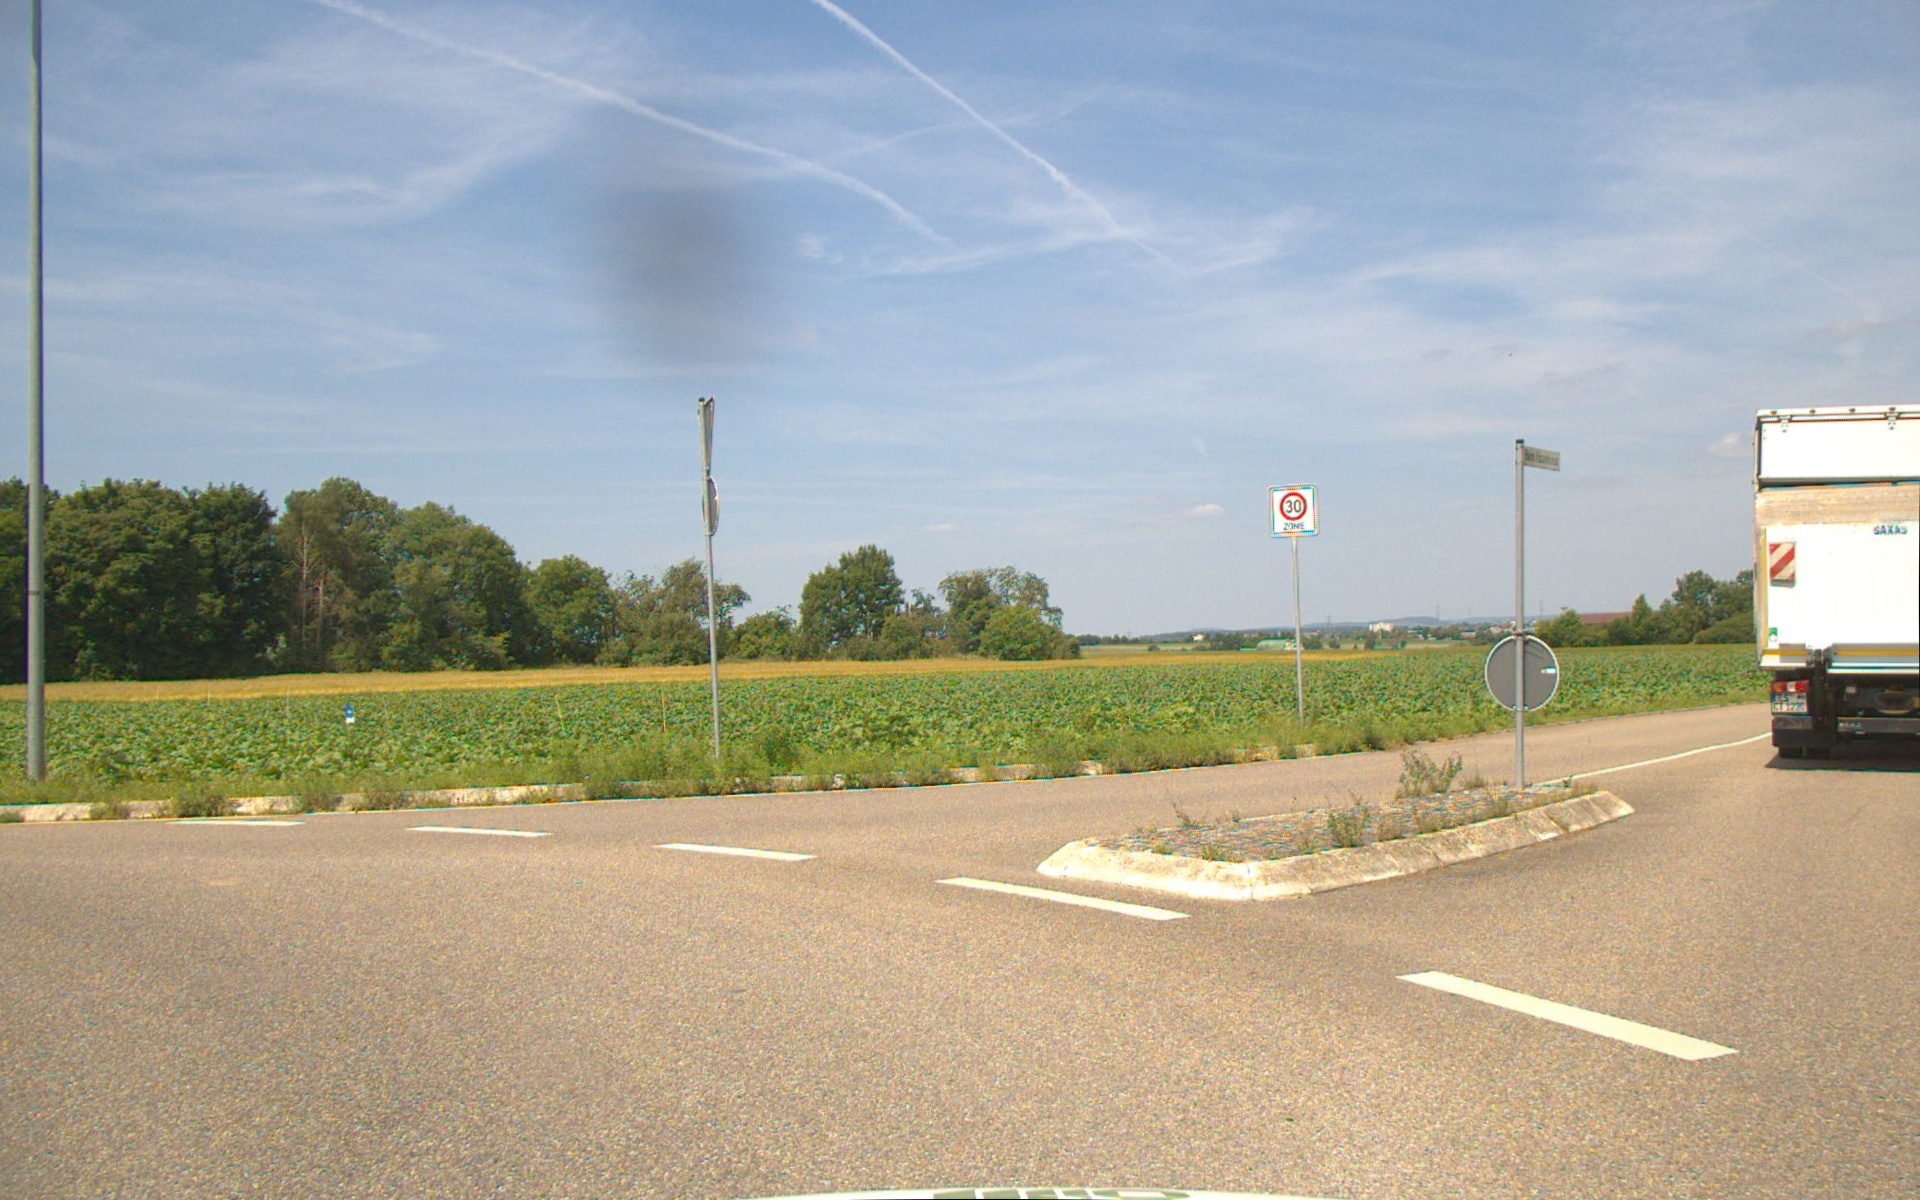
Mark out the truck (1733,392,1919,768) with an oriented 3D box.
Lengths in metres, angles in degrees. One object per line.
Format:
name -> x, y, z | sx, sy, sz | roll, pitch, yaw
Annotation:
truck -> 11.481, -0.127, 20.719 | 2.714, 3.735, 9.368 | -1, -1, 28
